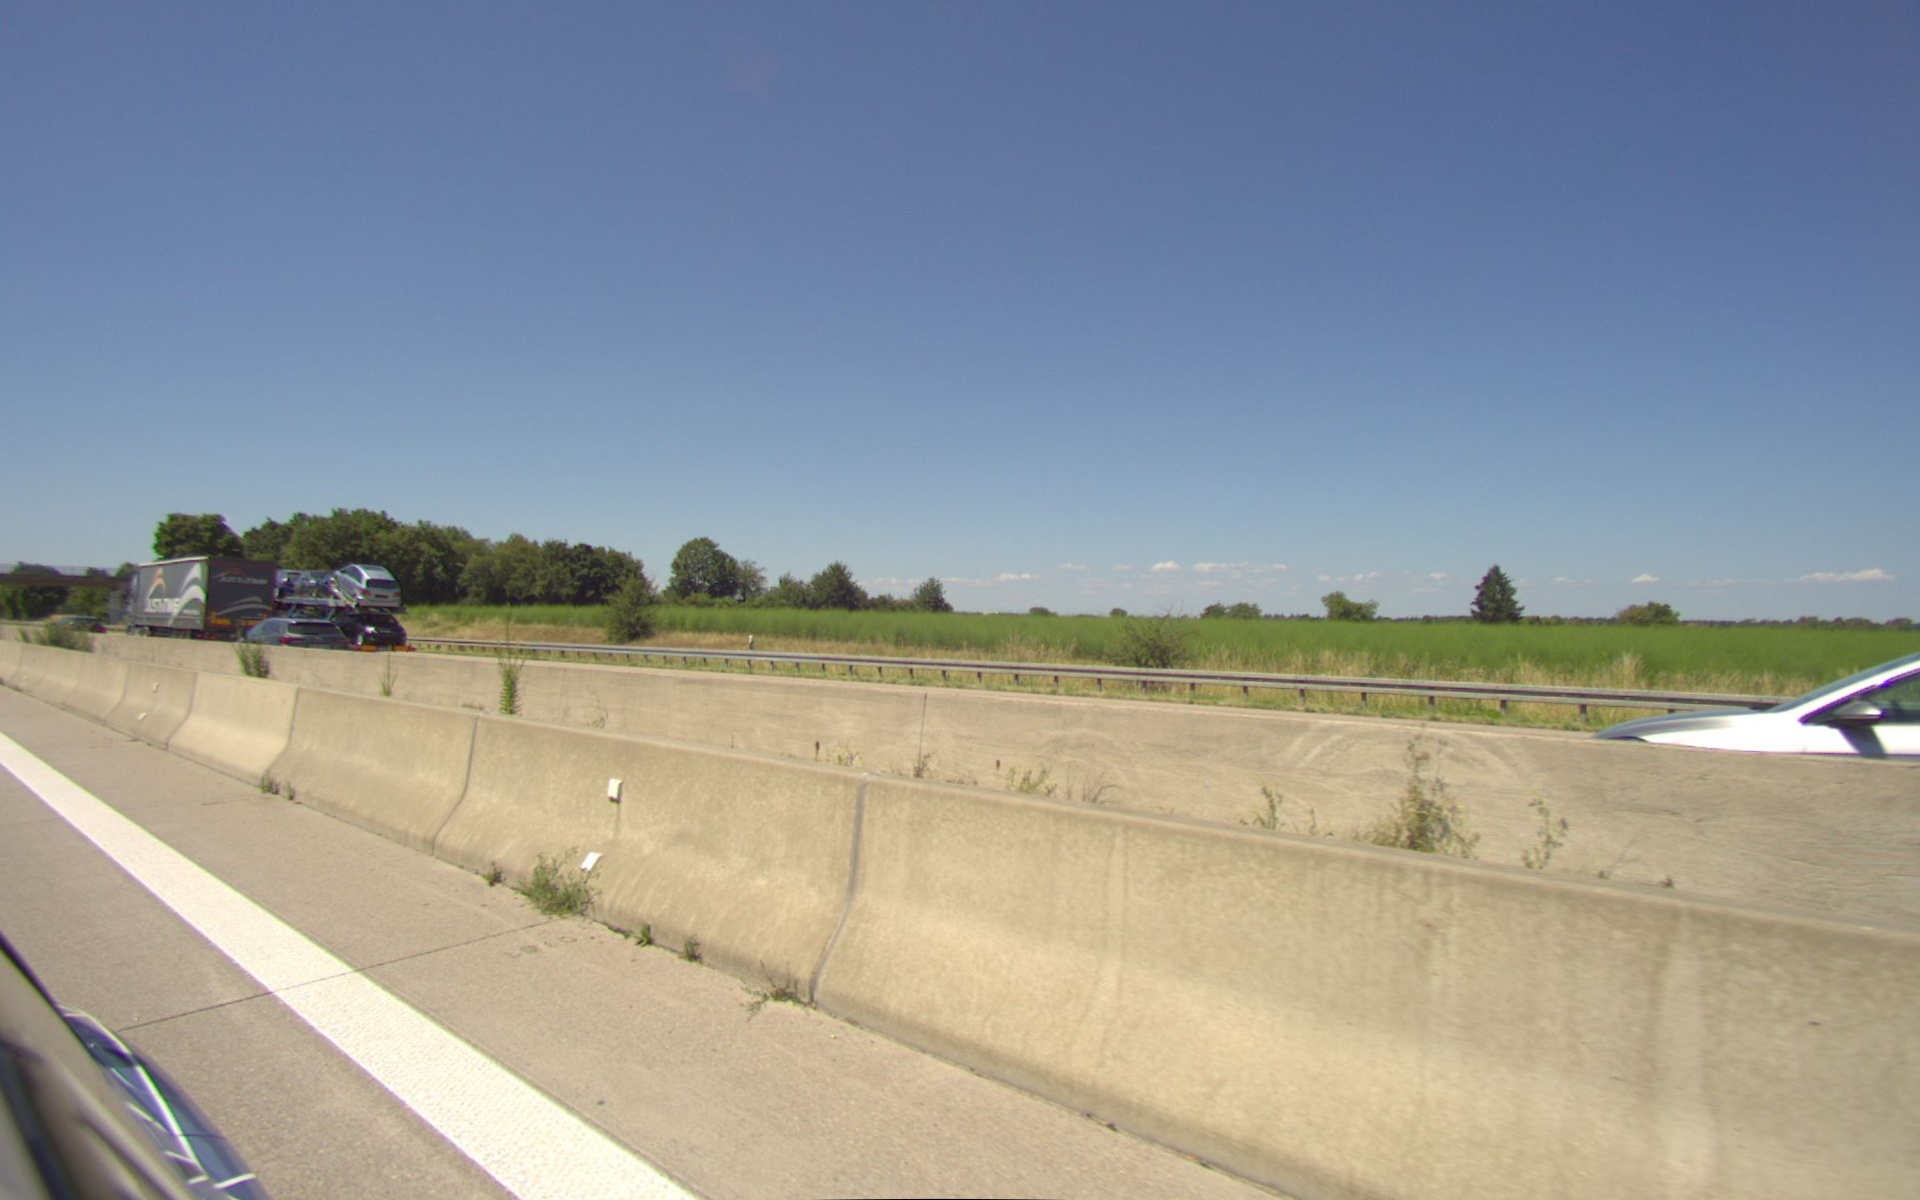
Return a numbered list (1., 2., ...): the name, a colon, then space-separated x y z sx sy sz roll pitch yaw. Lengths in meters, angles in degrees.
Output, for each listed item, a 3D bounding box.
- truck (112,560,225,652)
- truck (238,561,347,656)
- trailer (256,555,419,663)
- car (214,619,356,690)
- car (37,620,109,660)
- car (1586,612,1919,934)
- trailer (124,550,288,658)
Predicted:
1. truck: -41.410 0.381 52.862 7.186 4.510 3.233 -1 -3 41
2. truck: -34.849 0.438 52.735 6.247 4.641 3.198 -1 0 41
3. trailer: -30.095 0.444 48.541 12.288 4.641 3.198 -1 0 41
4. car: -17.763 1.344 26.521 4.931 1.663 1.885 -1 0 41
5. car: -42.623 1.883 48.590 4.741 1.796 1.973 -1 0 41
6. car: 6.378 0.934 5.635 4.680 1.708 1.862 -1 0 41
7. trailer: -36.264 0.299 48.312 14.444 4.510 3.233 -1 -2 41
